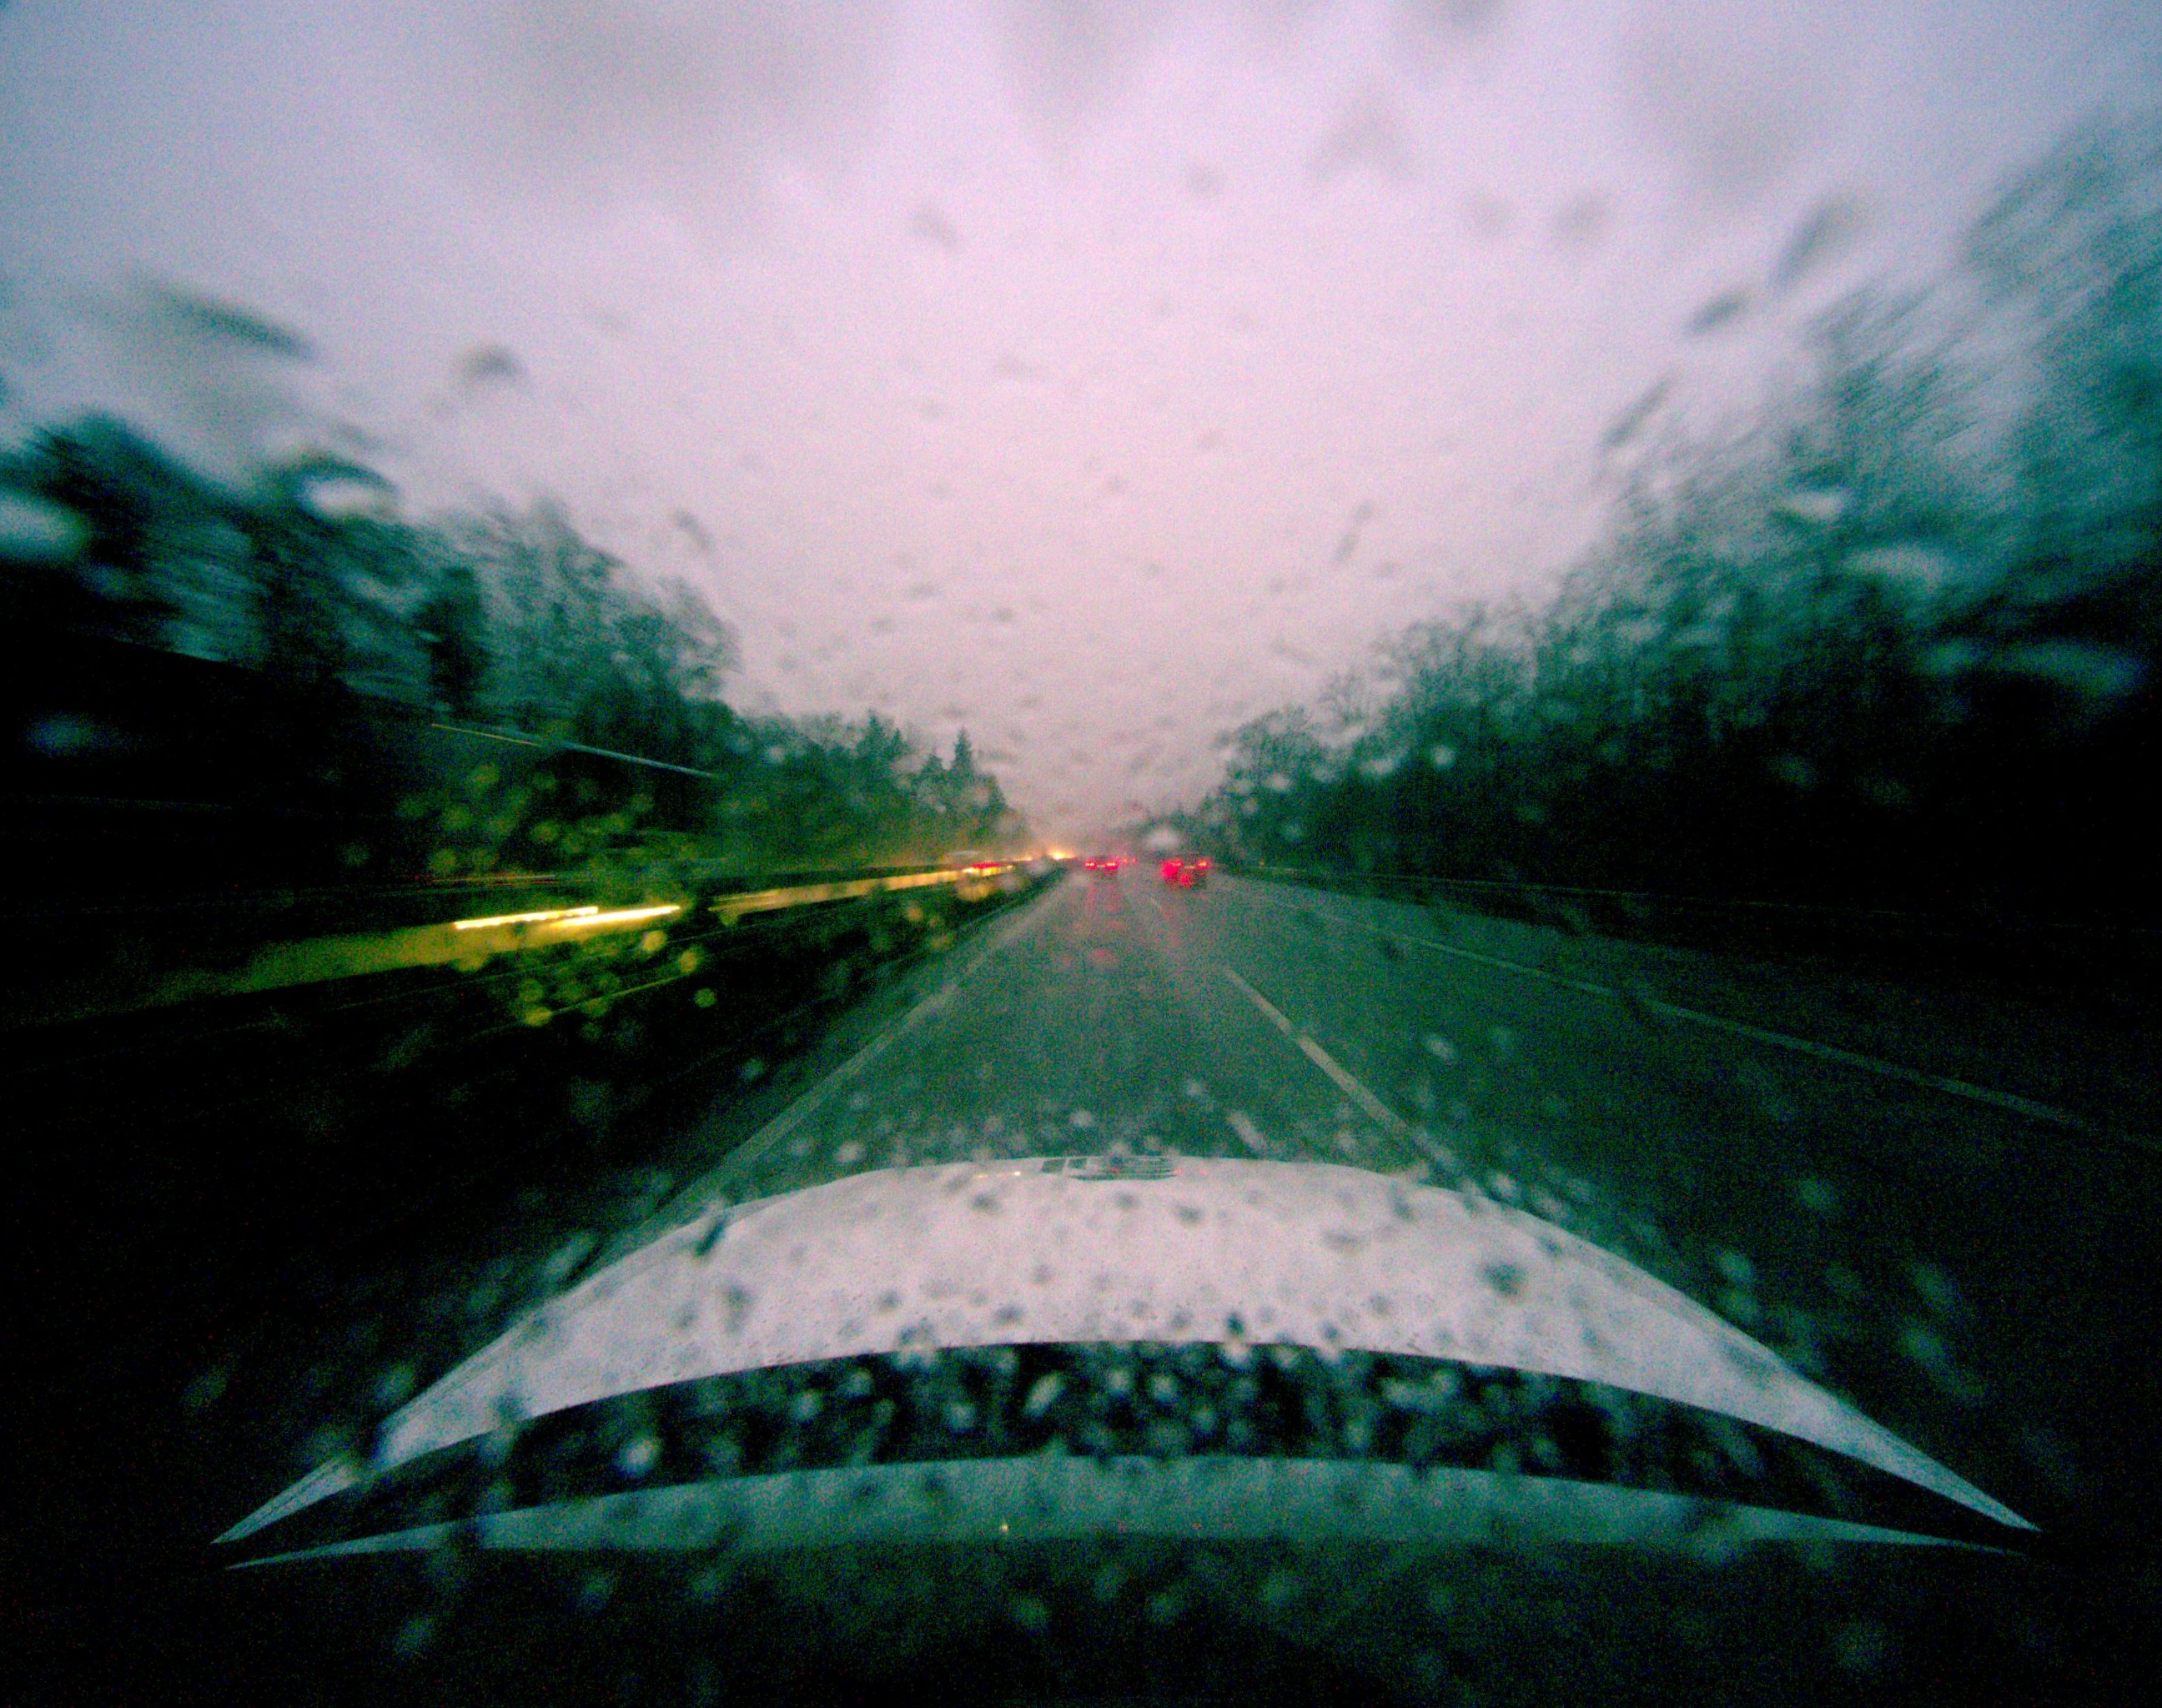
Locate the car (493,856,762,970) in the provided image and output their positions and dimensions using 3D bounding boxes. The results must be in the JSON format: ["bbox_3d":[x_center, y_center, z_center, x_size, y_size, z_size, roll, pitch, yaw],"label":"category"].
[{"bbox_3d":[-7.032,0.812,13.240,1.791,1.535,4.273,-1,0,3],"label":"car"}]

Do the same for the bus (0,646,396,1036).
[{"bbox_3d":[-11.207,-0.106,7.011,2.716,3.555,9.091,-1,0,2],"label":"bus"}]

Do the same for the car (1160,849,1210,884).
[{"bbox_3d":[5.257,0.615,41.633,2.063,1.698,4.462,-1,0,1],"label":"car"}]

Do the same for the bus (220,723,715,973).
[{"bbox_3d":[-10.896,-0.068,16.288,2.728,3.555,9.159,-1,0,2],"label":"bus"}]

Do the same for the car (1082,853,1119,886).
[{"bbox_3d":[1.187,0.841,46.998,1.978,1.767,4.176,-2,0,3],"label":"car"}]

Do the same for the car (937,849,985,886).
[{"bbox_3d":[-6.921,0.778,47.462,1.986,2.014,4.730,-1,0,2],"label":"car"}]
